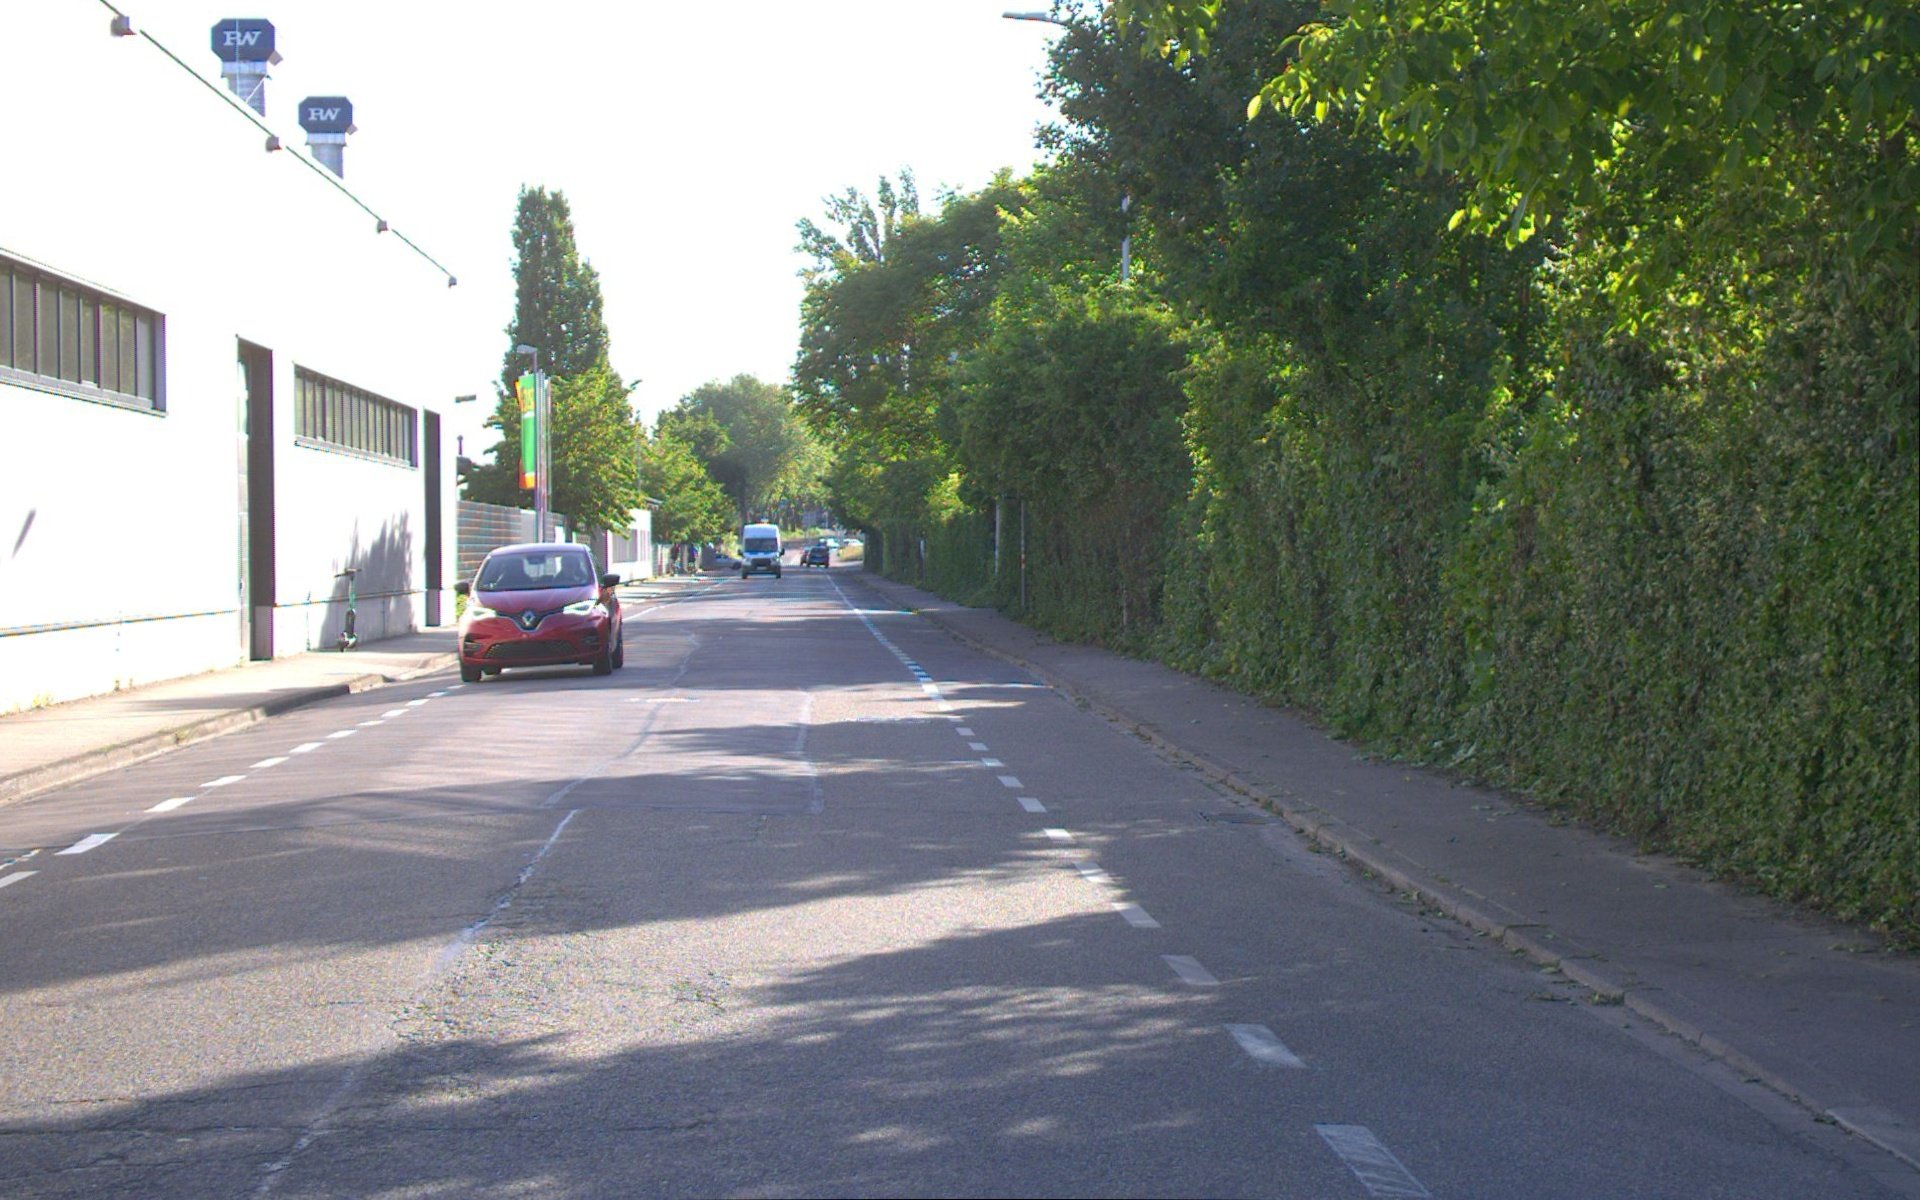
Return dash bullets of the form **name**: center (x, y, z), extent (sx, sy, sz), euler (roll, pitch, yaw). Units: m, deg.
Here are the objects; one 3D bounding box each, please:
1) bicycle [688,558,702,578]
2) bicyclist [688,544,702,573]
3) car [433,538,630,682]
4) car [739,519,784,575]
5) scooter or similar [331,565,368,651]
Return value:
- **bicycle**: center (-13.990, -1.672, 181.461), extent (0.689, 1.030, 1.351), euler (1, 1, -3)
- **bicyclist**: center (-13.975, -2.194, 181.468), extent (0.689, 1.527, 0.722), euler (1, 1, -3)
- **car**: center (-4.979, 0.083, 40.387), extent (1.817, 1.484, 4.000), euler (-4, 1, -1)
- **car**: center (-10.242, -2.709, 177.598), extent (2.123, 2.771, 5.927), euler (-3, 1, -2)
- **scooter or similar**: center (-9.098, 0.119, 51.238), extent (0.416, 1.263, 1.060), euler (0, 1, -3)
